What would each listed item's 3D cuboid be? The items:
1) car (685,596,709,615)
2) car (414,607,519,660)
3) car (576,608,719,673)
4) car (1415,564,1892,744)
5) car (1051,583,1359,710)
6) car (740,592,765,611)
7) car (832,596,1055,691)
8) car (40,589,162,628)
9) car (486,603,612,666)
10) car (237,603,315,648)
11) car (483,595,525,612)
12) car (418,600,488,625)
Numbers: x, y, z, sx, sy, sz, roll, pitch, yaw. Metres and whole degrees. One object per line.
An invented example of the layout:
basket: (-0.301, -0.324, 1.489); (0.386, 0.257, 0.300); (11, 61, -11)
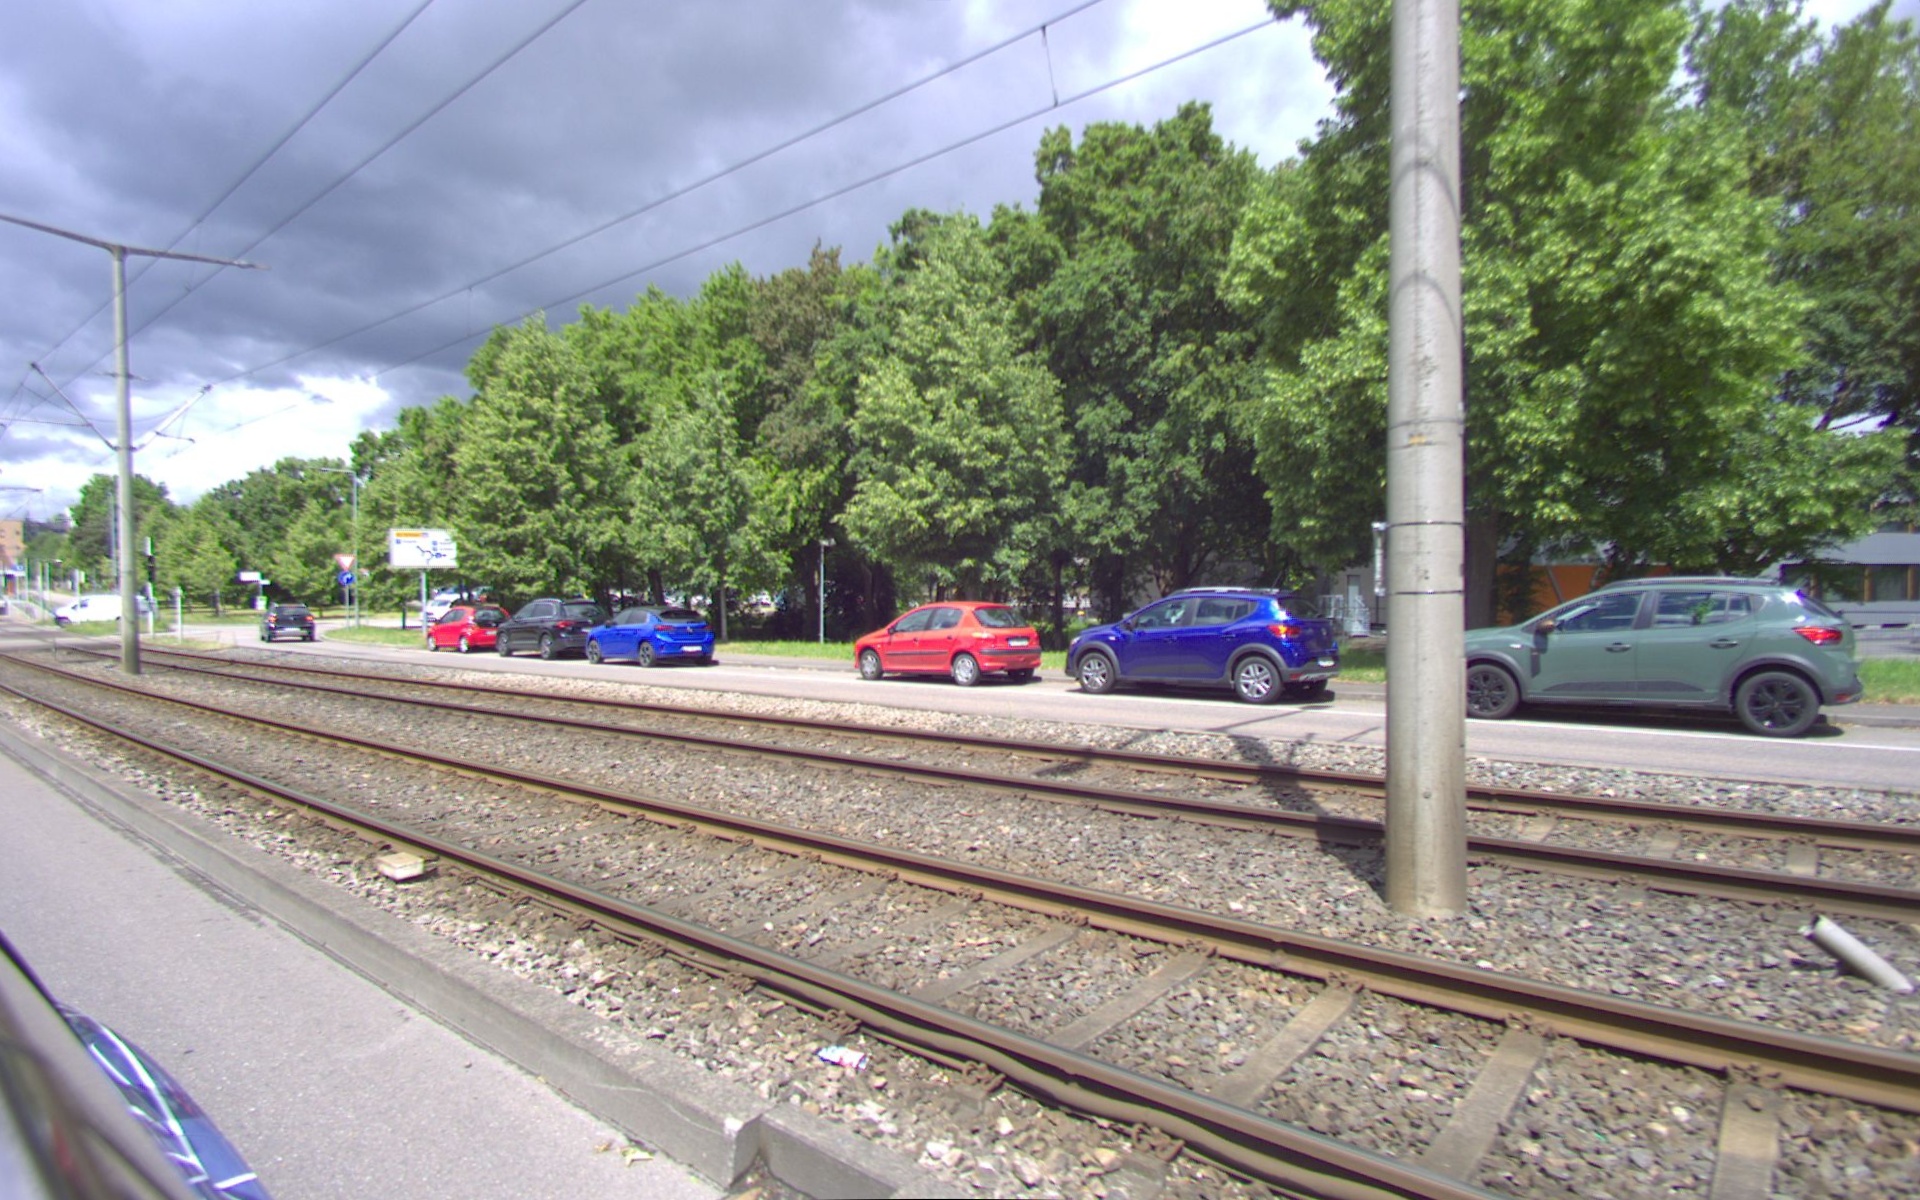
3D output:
car: (-23.060, 0.437, 88.659); (1.728, 1.430, 4.013); (-2, 2, -17)
car: (-15.873, 1.025, 32.486); (3.657, 1.462, 1.598); (1, 3, 39)
car: (-7.720, 0.955, 24.818); (4.008, 1.472, 1.595); (-1, -1, 44)
car: (7.445, 0.514, 11.165); (4.125, 1.635, 1.625); (-1, 0, 42)
car: (3.453, 0.636, 14.800); (4.159, 1.608, 1.540); (-2, -2, 42)
car: (-18.576, 0.111, 90.392); (1.728, 1.430, 4.013); (-2, 2, -17)
car: (-0.383, 0.746, 18.330); (4.048, 1.505, 1.595); (-2, 0, 43)
car: (-49.805, 0.494, 58.783); (5.151, 2.033, 1.885); (-2, 2, -9)
car: (-11.580, 0.940, 28.385); (4.374, 1.617, 1.563); (-1, -1, 42)
car: (-27.433, 0.979, 40.557); (3.999, 1.585, 1.596); (1, 3, 42)
car: (-45.190, 0.329, 100.273); (1.620, 1.602, 3.587); (0, 0, 26)
car: (-35.874, 0.886, 71.620); (4.277, 1.702, 1.747); (-1, 0, -33)
